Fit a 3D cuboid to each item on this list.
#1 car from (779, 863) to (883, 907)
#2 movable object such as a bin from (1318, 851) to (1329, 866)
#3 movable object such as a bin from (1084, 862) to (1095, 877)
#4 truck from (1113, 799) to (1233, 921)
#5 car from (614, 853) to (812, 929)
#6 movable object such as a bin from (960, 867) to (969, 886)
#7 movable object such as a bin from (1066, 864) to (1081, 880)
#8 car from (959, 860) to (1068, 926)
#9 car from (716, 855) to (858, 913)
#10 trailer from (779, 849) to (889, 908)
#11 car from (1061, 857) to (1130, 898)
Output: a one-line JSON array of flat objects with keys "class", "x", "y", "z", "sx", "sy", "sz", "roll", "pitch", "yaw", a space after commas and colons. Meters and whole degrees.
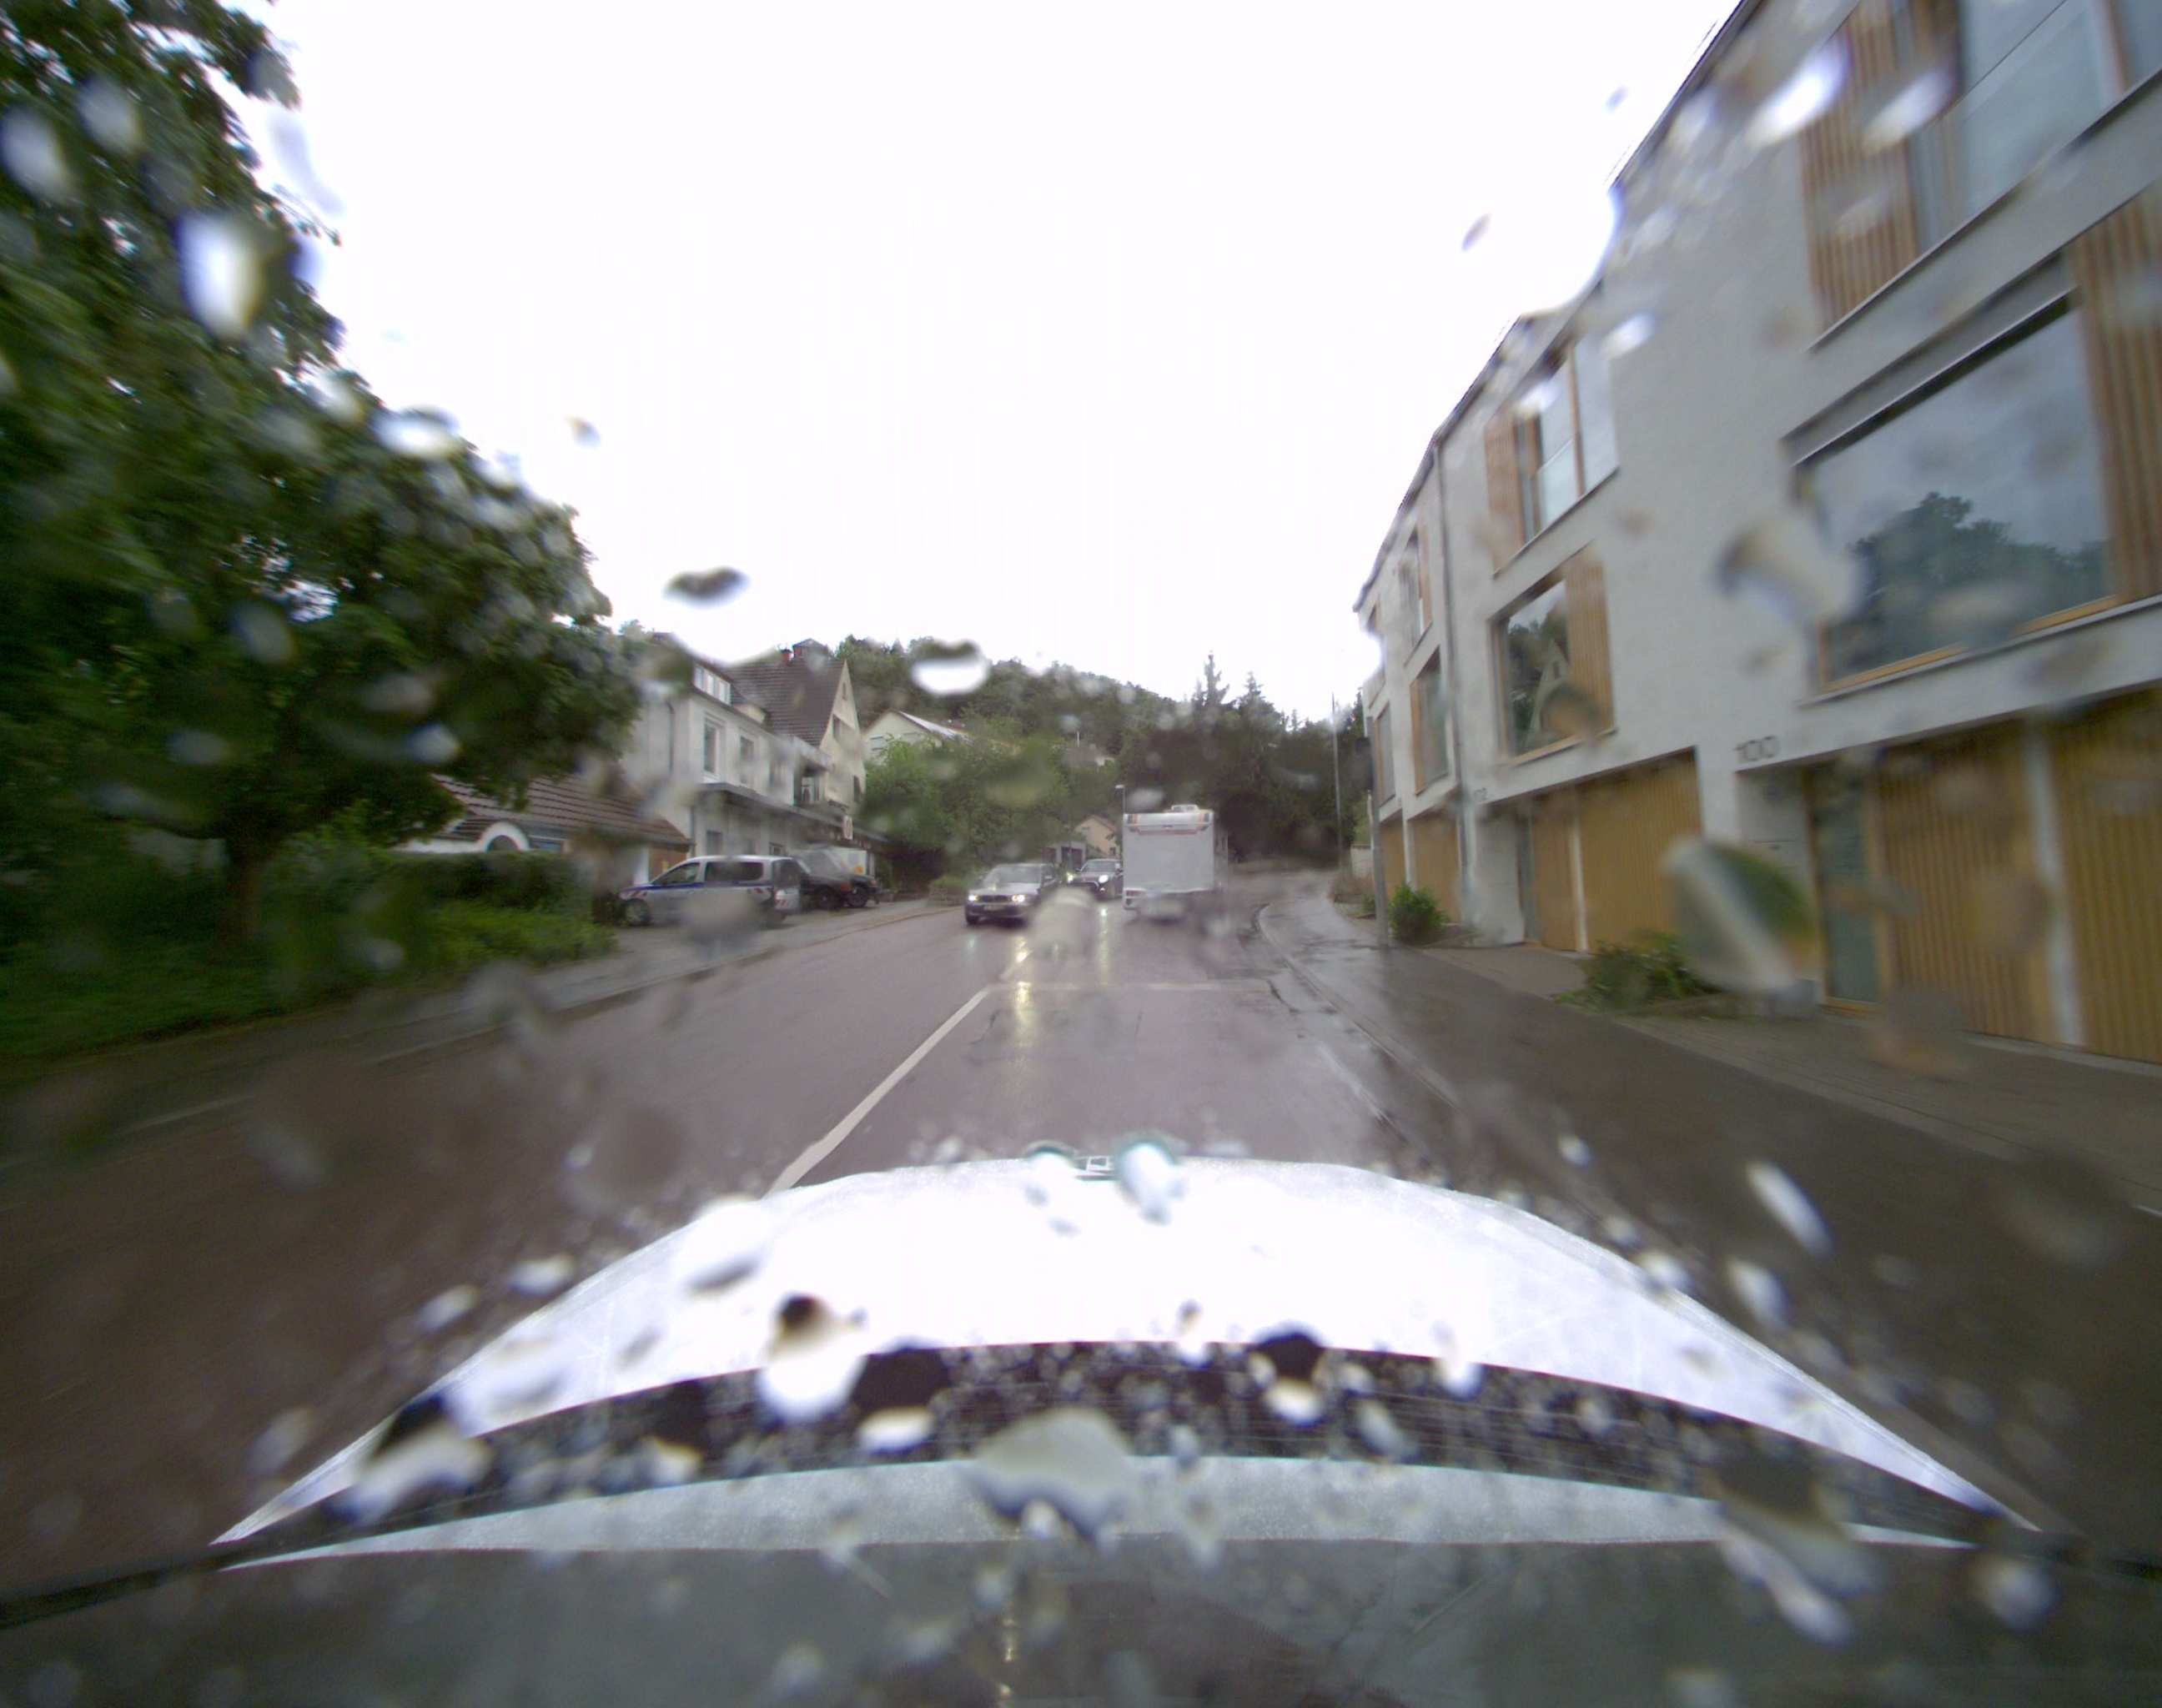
[{"class": "car", "x": -8.905, "y": 1.084, "z": 29.298, "sx": 3.335, "sy": 1.485, "sz": 1.833, "roll": -1, "pitch": 0, "yaw": -10}, {"class": "movable object such as a bin", "x": 16.709, "y": 0.325, "z": 56.056, "sx": 0.492, "sy": 0.979, "sz": 0.496, "roll": -3, "pitch": 1, "yaw": -38}, {"class": "movable object such as a bin", "x": 0.739, "y": 1.308, "z": 69.636, "sx": 0.699, "sy": 1.222, "sz": 0.594, "roll": -1, "pitch": -1, "yaw": 22}, {"class": "truck", "x": 2.710, "y": 0.157, "z": 22.154, "sx": 2.498, "sy": 2.817, "sz": 6.223, "roll": -1, "pitch": 0, "yaw": 13}, {"class": "car", "x": -9.274, "y": 0.901, "z": 20.765, "sx": 4.089, "sy": 1.800, "sz": 2.001, "roll": -1, "pitch": 0, "yaw": 2}, {"class": "movable object such as a bin", "x": -6.699, "y": 1.275, "z": 46.869, "sx": 0.363, "sy": 1.064, "sz": 0.501, "roll": -1, "pitch": -1, "yaw": 13}, {"class": "movable object such as a bin", "x": -0.563, "y": 1.380, "z": 63.073, "sx": 0.845, "sy": 1.198, "sz": 0.937, "roll": -1, "pitch": -1, "yaw": 19}, {"class": "car", "x": -1.538, "y": 0.893, "z": 20.010, "sx": 1.808, "sy": 1.422, "sz": 3.909, "roll": -1, "pitch": 0, "yaw": 8}, {"class": "car", "x": -9.508, "y": 0.948, "z": 26.643, "sx": 4.075, "sy": 1.774, "sz": 1.794, "roll": 0, "pitch": -1, "yaw": -9}, {"class": "trailer", "x": -9.838, "y": 0.957, "z": 32.398, "sx": 3.963, "sy": 2.102, "sz": 1.939, "roll": -2, "pitch": -1, "yaw": -22}, {"class": "car", "x": 0.605, "y": 0.814, "z": 29.859, "sx": 1.664, "sy": 1.405, "sz": 3.692, "roll": -1, "pitch": 0, "yaw": 15}]
